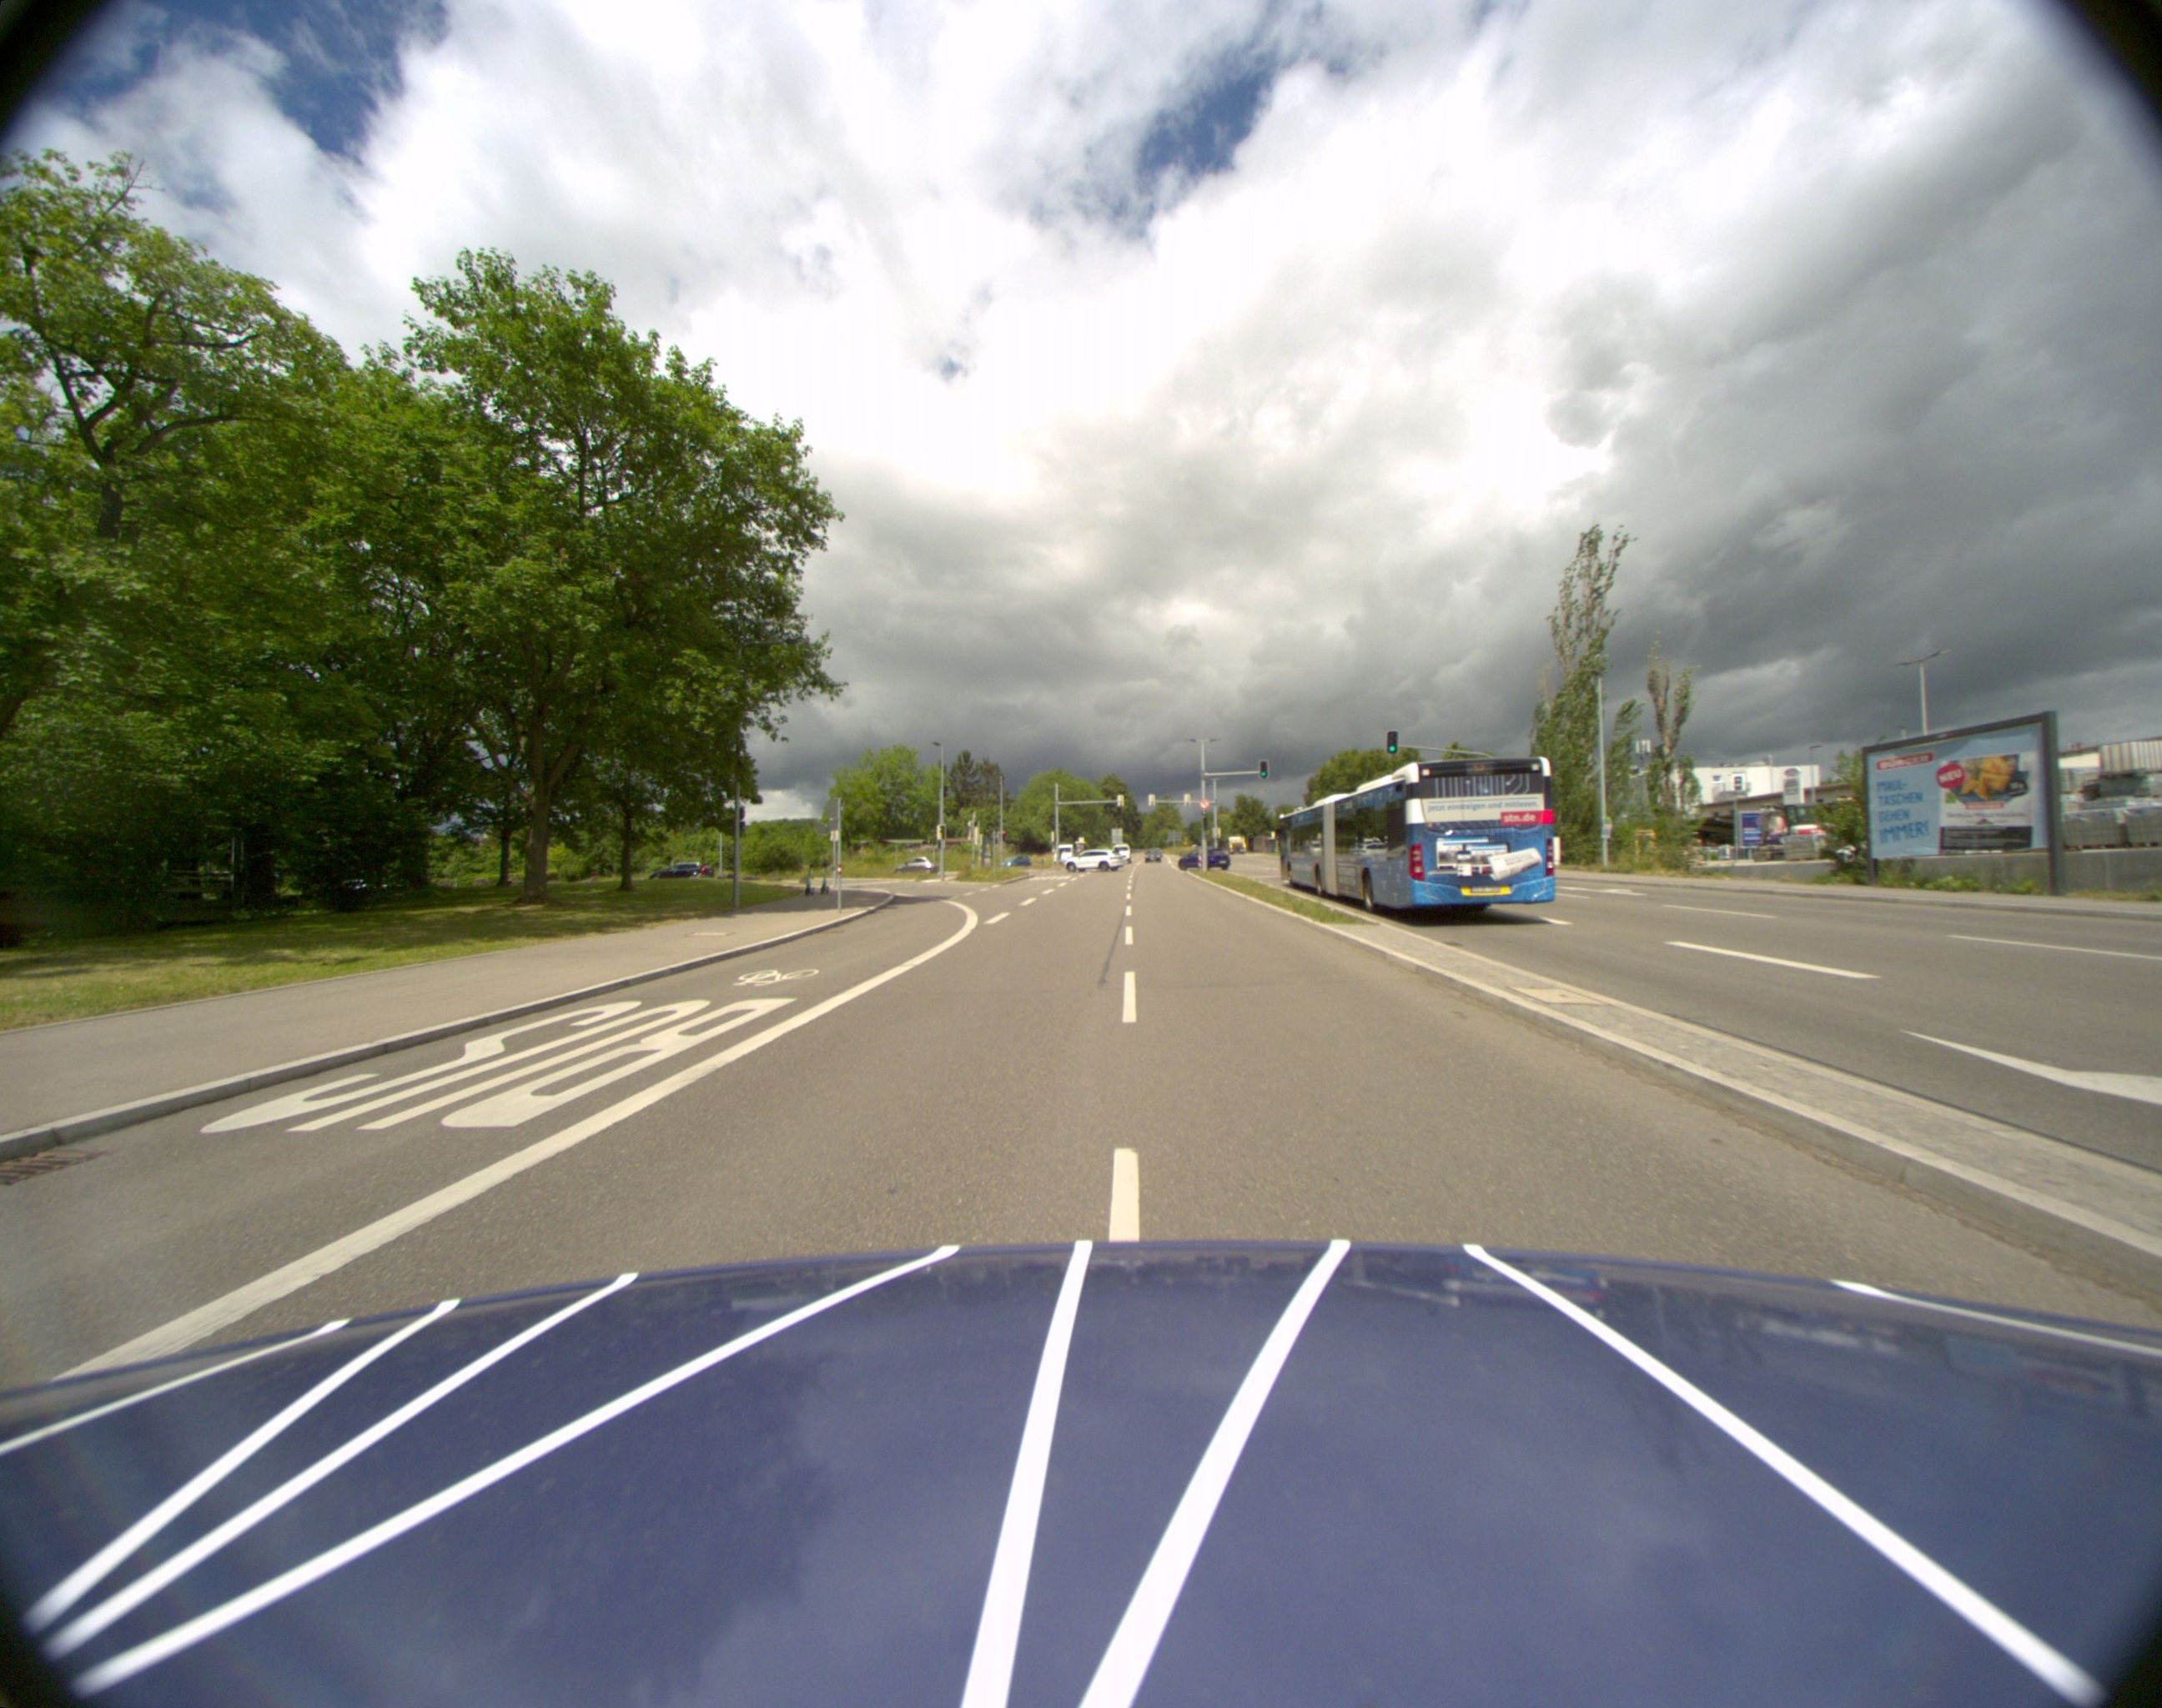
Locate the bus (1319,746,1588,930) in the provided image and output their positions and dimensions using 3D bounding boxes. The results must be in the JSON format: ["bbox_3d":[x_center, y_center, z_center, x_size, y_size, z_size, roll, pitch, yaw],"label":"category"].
[{"bbox_3d":[7.933,-0.240,17.826,2.821,3.145,8.913,-2,0,7],"label":"bus"}]

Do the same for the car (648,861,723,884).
[{"bbox_3d":[-31.835,1.495,61.217,4.977,1.680,1.911,-2,1,4],"label":"car"}]

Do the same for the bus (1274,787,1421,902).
[{"bbox_3d":[9.083,-0.313,27.316,2.821,3.266,10.124,-2,0,7],"label":"bus"}]

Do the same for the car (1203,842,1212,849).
[{"bbox_3d":[28.447,-1.891,170.297,1.695,1.392,4.002,-1,0,6],"label":"car"}]

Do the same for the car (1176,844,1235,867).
[{"bbox_3d":[8.464,0.116,52.090,1.813,1.502,4.389,-2,0,-24],"label":"car"}]

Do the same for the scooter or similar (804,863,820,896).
[{"bbox_3d":[-10.448,0.974,29.499,0.534,1.256,1.188,0,0,-17],"label":"scooter or similar"}]

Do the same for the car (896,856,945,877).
[{"bbox_3d":[-12.702,0.991,60.298,3.521,1.451,1.586,-2,-3,2],"label":"car"}]

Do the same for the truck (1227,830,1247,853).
[{"bbox_3d":[28.329,-2.265,138.166,2.843,3.555,6.975,-1,-4,5],"label":"truck"}]

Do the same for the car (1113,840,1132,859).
[{"bbox_3d":[4.453,-0.533,81.320,1.909,1.926,4.971,-2,1,3],"label":"car"}]

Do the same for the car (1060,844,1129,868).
[{"bbox_3d":[1.001,0.180,57.703,4.888,1.649,1.736,-2,0,29],"label":"car"}]

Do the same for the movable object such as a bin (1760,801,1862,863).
[{"bbox_3d":[31.512,-0.904,32.949,2.147,2.523,3.420,-1,1,24],"label":"movable object such as a bin"}]

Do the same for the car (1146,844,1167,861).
[{"bbox_3d":[7.981,-0.184,80.873,1.909,1.626,4.971,-2,1,3],"label":"car"}]

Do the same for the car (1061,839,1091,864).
[{"bbox_3d":[-0.500,-0.241,84.224,2.161,2.635,5.831,-2,0,12],"label":"car"}]

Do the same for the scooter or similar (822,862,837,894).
[{"bbox_3d":[-10.220,0.977,30.921,0.534,1.256,1.188,0,0,-17],"label":"scooter or similar"}]

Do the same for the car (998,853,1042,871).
[{"bbox_3d":[-5.956,0.759,74.387,1.905,1.627,4.456,-1,1,35],"label":"car"}]
